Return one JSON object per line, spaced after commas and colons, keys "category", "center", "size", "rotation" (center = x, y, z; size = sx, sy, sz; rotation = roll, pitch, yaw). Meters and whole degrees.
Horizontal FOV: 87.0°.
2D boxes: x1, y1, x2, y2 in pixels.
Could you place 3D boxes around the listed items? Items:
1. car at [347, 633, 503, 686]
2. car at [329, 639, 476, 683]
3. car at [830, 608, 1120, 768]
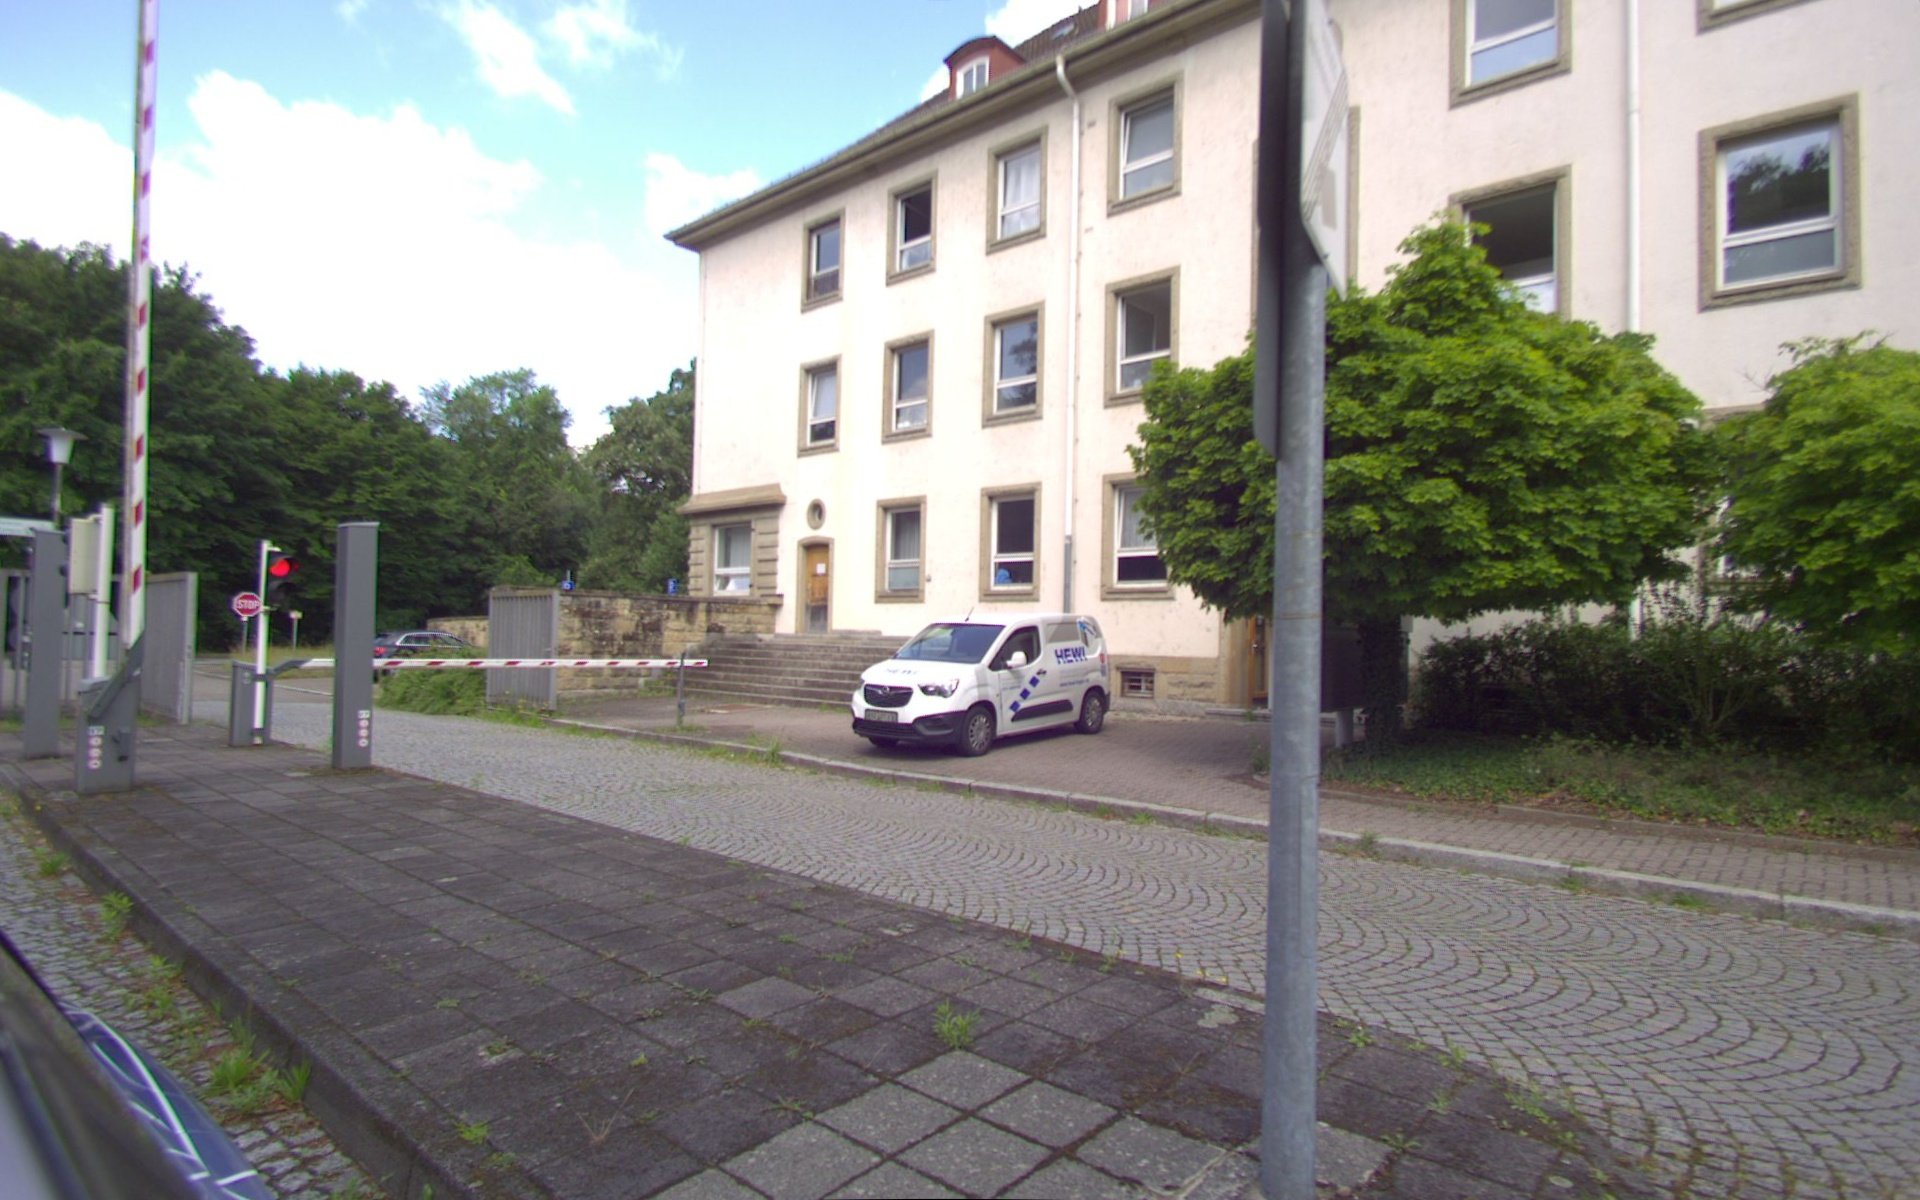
{"category": "car", "center": [-16.566, 1.807, 31.425], "size": [3.939, 1.529, 1.804], "rotation": [3, -3, -43]}
{"category": "car", "center": [-18.529, 2.012, 33.720], "size": [3.939, 1.356, 1.804], "rotation": [3, -3, -43]}
{"category": "car", "center": [0.364, 1.046, 14.055], "size": [1.818, 1.819, 4.259], "rotation": [0, 0, 38]}
